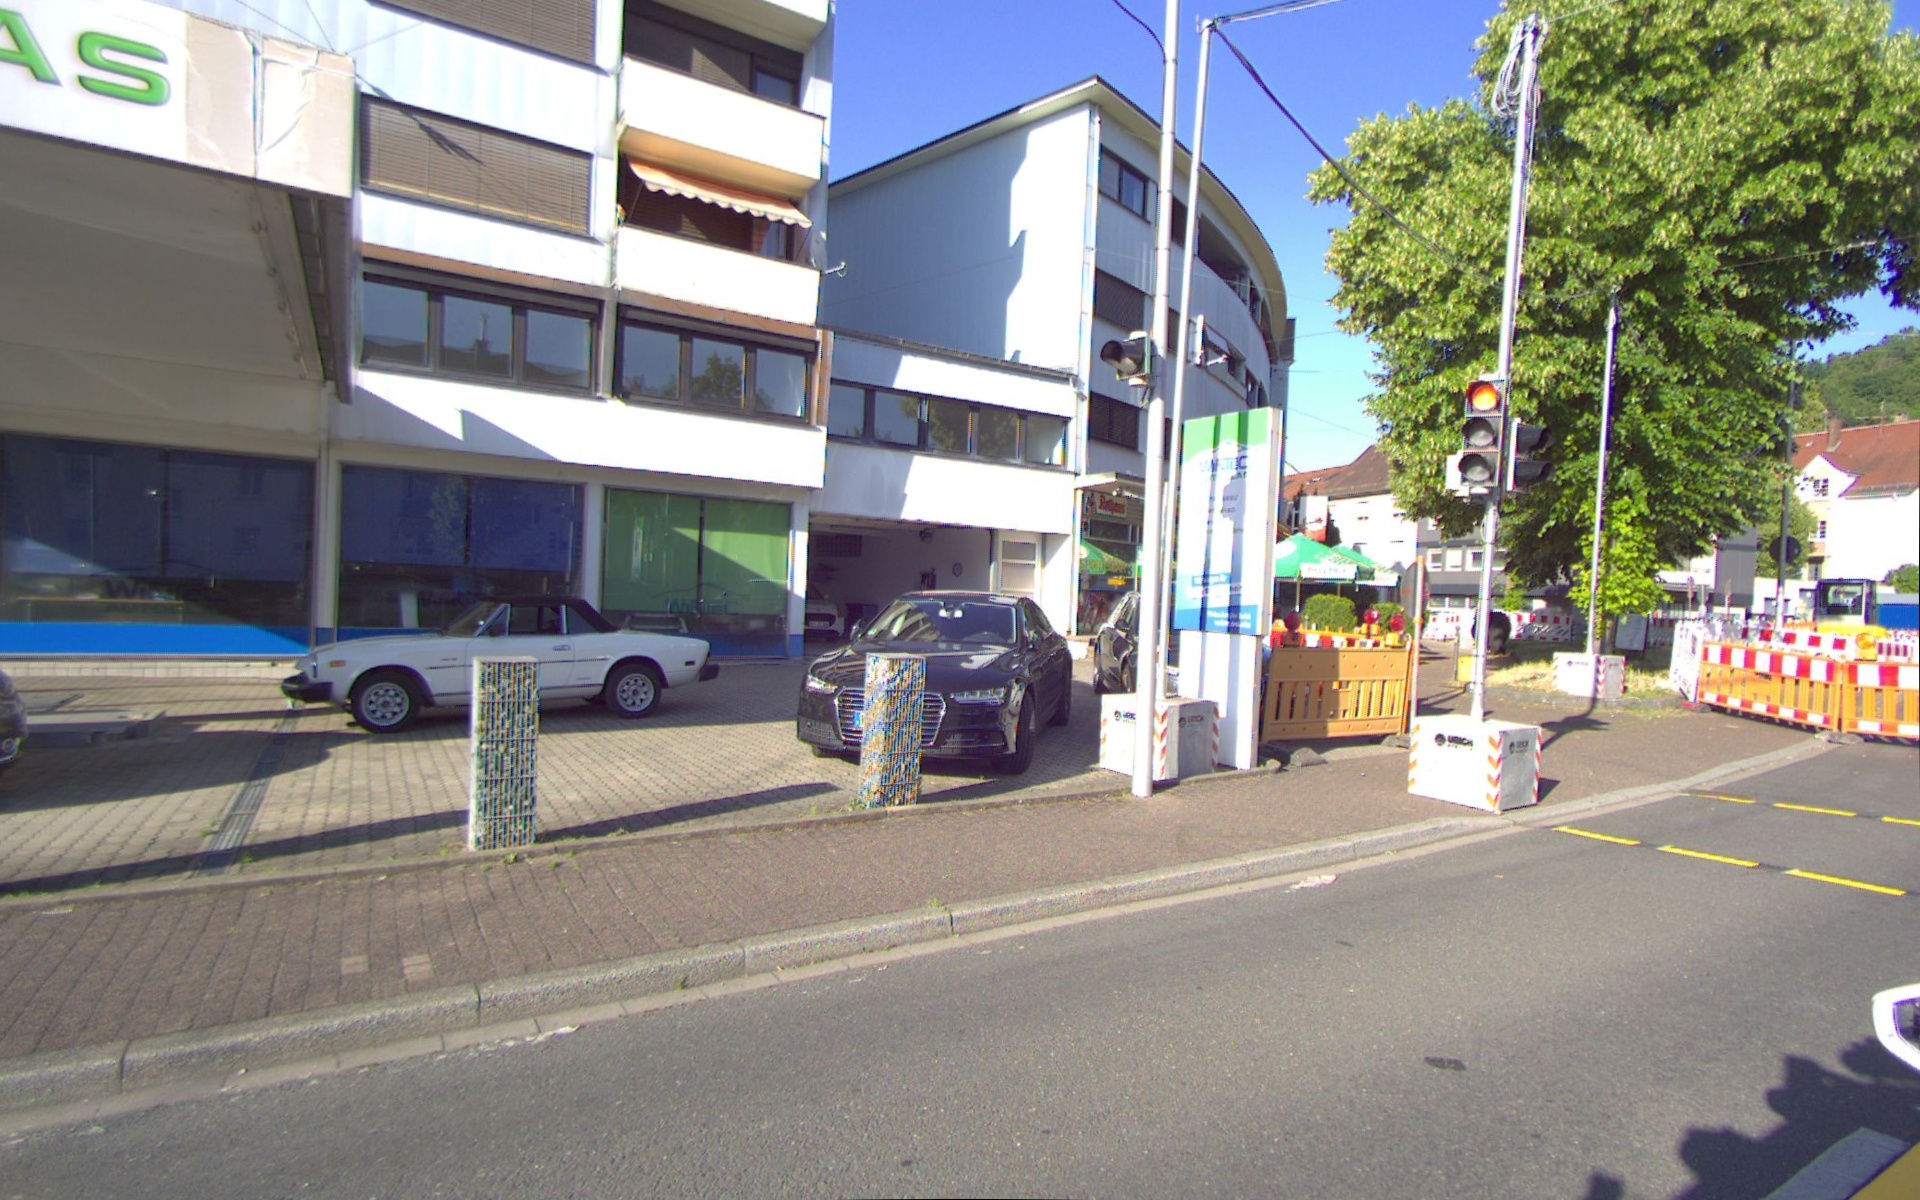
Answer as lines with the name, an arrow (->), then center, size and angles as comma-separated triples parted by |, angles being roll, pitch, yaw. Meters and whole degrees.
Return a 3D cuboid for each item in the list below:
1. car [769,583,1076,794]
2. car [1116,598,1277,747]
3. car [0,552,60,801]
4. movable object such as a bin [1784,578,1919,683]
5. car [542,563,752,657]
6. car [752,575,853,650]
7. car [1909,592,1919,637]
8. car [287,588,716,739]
car -> -0.029, 0.650, 9.567 | 1.893, 1.457, 4.692 | 1, -1, 11
car -> 2.754, 0.745, 12.076 | 1.564, 1.457, 3.887 | 1, 0, 11
car -> -7.486, 0.408, 5.854 | 3.305, 1.506, 1.543 | 2, 0, 8
movable object such as a bin -> 21.519, 0.703, 24.166 | 3.882, 2.356, 1.635 | 1, 0, -36
car -> -6.105, 0.217, 19.705 | 3.593, 1.696, 1.707 | 2, 0, -34
car -> -3.899, 0.252, 24.376 | 1.550, 1.629, 3.734 | 2, 1, -23
car -> 49.526, 0.793, 48.340 | 6.043, 2.149, 2.586 | 2, 0, -12
car -> -4.680, 0.591, 10.483 | 3.865, 1.315, 1.511 | 1, -1, -35
